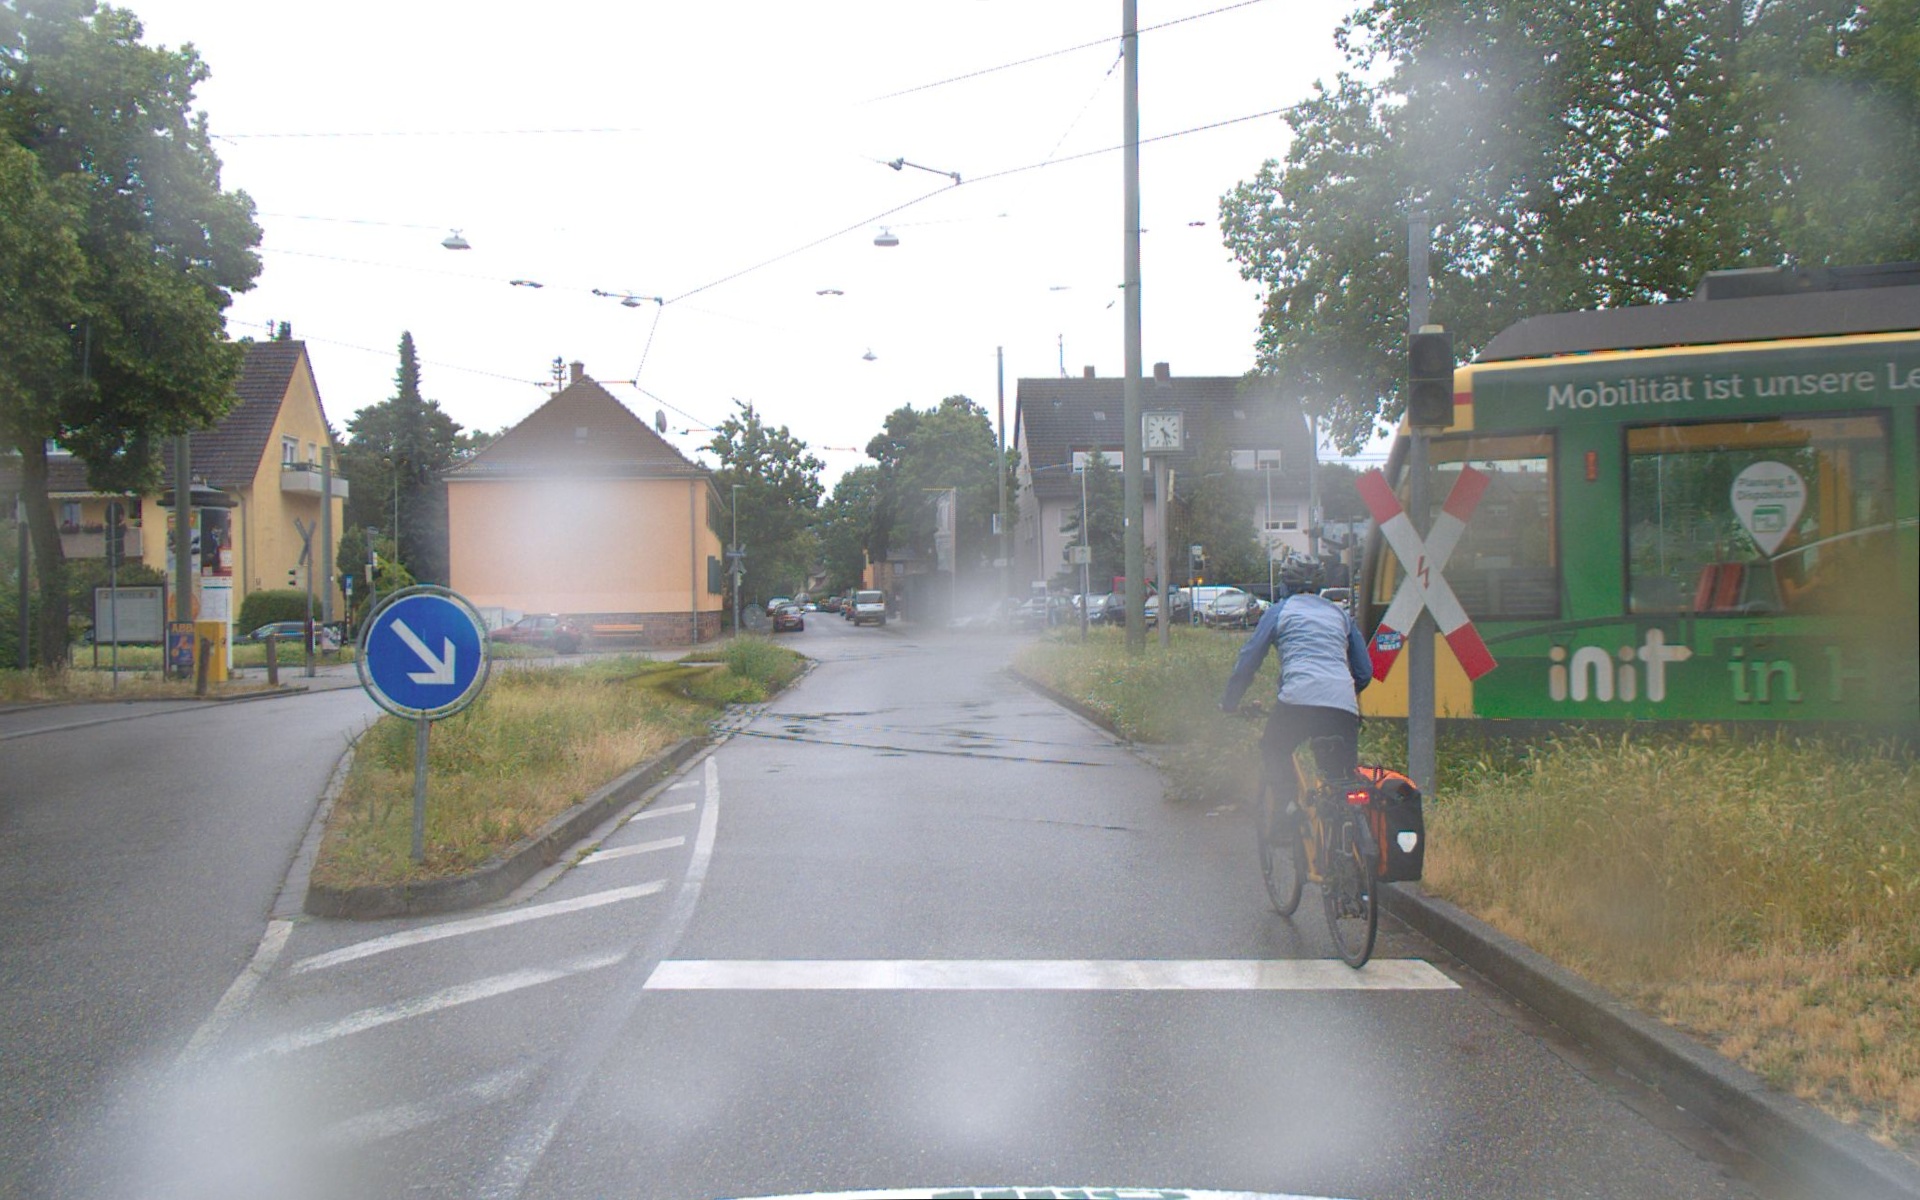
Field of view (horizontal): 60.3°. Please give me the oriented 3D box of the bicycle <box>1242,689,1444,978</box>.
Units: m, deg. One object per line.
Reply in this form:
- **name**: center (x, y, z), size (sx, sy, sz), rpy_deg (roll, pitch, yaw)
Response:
- **bicycle**: center (1.653, 0.964, 7.362), size (0.437, 1.022, 1.727), rpy_deg (-1, 0, -2)

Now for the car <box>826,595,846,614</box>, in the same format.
- **car**: center (-12.306, 0.485, 164.411), size (1.768, 1.843, 3.998), rpy_deg (1, -1, -3)

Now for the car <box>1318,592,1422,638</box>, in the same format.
- **car**: center (16.160, 0.586, 65.304), size (3.609, 1.731, 1.890), rpy_deg (1, -1, 0)

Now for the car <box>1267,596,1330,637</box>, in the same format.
- **car**: center (14.569, 0.726, 71.139), size (1.804, 1.669, 3.997), rpy_deg (1, -1, 24)

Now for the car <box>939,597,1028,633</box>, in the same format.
- **car**: center (1.133, 0.750, 79.901), size (3.956, 1.672, 1.974), rpy_deg (1, -2, -37)

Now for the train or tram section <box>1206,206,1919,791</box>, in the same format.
- **train or tram section**: center (8.268, -0.675, 10.848), size (12.817, 3.615, 2.770), rpy_deg (-1, 0, 20)

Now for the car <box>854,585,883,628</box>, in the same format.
- **car**: center (-5.942, 0.433, 107.917), size (1.768, 2.673, 3.998), rpy_deg (1, -1, -3)

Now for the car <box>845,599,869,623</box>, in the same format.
- **car**: center (-7.954, 0.861, 127.757), size (1.768, 1.843, 3.998), rpy_deg (1, -1, -3)

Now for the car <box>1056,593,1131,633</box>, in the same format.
- **car**: center (5.810, 0.584, 71.566), size (1.954, 1.669, 3.997), rpy_deg (1, -1, 24)

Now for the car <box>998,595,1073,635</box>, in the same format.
- **car**: center (3.345, 0.666, 72.773), size (1.954, 1.669, 3.997), rpy_deg (1, -1, 24)

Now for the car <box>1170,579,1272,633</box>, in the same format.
- **car**: center (12.025, 0.291, 76.375), size (4.307, 2.366, 1.999), rpy_deg (1, -1, -3)

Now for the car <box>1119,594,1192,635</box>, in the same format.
- **car**: center (8.354, 0.616, 70.435), size (1.954, 1.669, 3.997), rpy_deg (1, -1, 24)

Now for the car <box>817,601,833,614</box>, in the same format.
- **car**: center (-17.213, 0.944, 210.943), size (1.768, 1.591, 3.998), rpy_deg (1, -1, -3)

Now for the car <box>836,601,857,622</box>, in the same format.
- **car**: center (-10.063, 1.000, 147.208), size (1.768, 1.843, 3.998), rpy_deg (1, -1, -3)

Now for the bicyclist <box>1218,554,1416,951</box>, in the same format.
- **bicyclist**: center (1.563, 0.642, 7.353), size (0.653, 1.654, 0.852), rpy_deg (1, -1, -2)

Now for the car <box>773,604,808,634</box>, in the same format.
- **car**: center (-9.786, 1.091, 95.505), size (1.768, 1.680, 3.998), rpy_deg (1, -1, -3)

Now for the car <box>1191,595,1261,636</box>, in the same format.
- **car**: center (11.408, 0.670, 70.701), size (1.954, 1.669, 3.997), rpy_deg (1, -1, 24)

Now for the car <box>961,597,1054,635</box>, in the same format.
- **car**: center (2.232, 0.741, 76.846), size (3.956, 1.705, 1.974), rpy_deg (1, -1, -37)

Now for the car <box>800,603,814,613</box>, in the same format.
- **car**: center (-21.517, 1.124, 233.351), size (1.768, 1.486, 3.998), rpy_deg (1, -1, -3)

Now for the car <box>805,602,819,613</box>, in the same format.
- **car**: center (-20.408, 1.095, 227.939), size (1.768, 1.486, 3.998), rpy_deg (1, -1, -3)

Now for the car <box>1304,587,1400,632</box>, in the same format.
- **car**: center (18.101, 0.451, 76.504), size (3.907, 1.985, 1.999), rpy_deg (1, -1, -3)

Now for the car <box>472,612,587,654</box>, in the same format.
- **car**: center (-16.178, 1.225, 62.292), size (3.911, 1.482, 1.831), rpy_deg (1, -1, -7)

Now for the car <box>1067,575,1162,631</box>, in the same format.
- **car**: center (7.487, 0.124, 79.875), size (4.301, 2.611, 2.001), rpy_deg (1, -1, 14)
